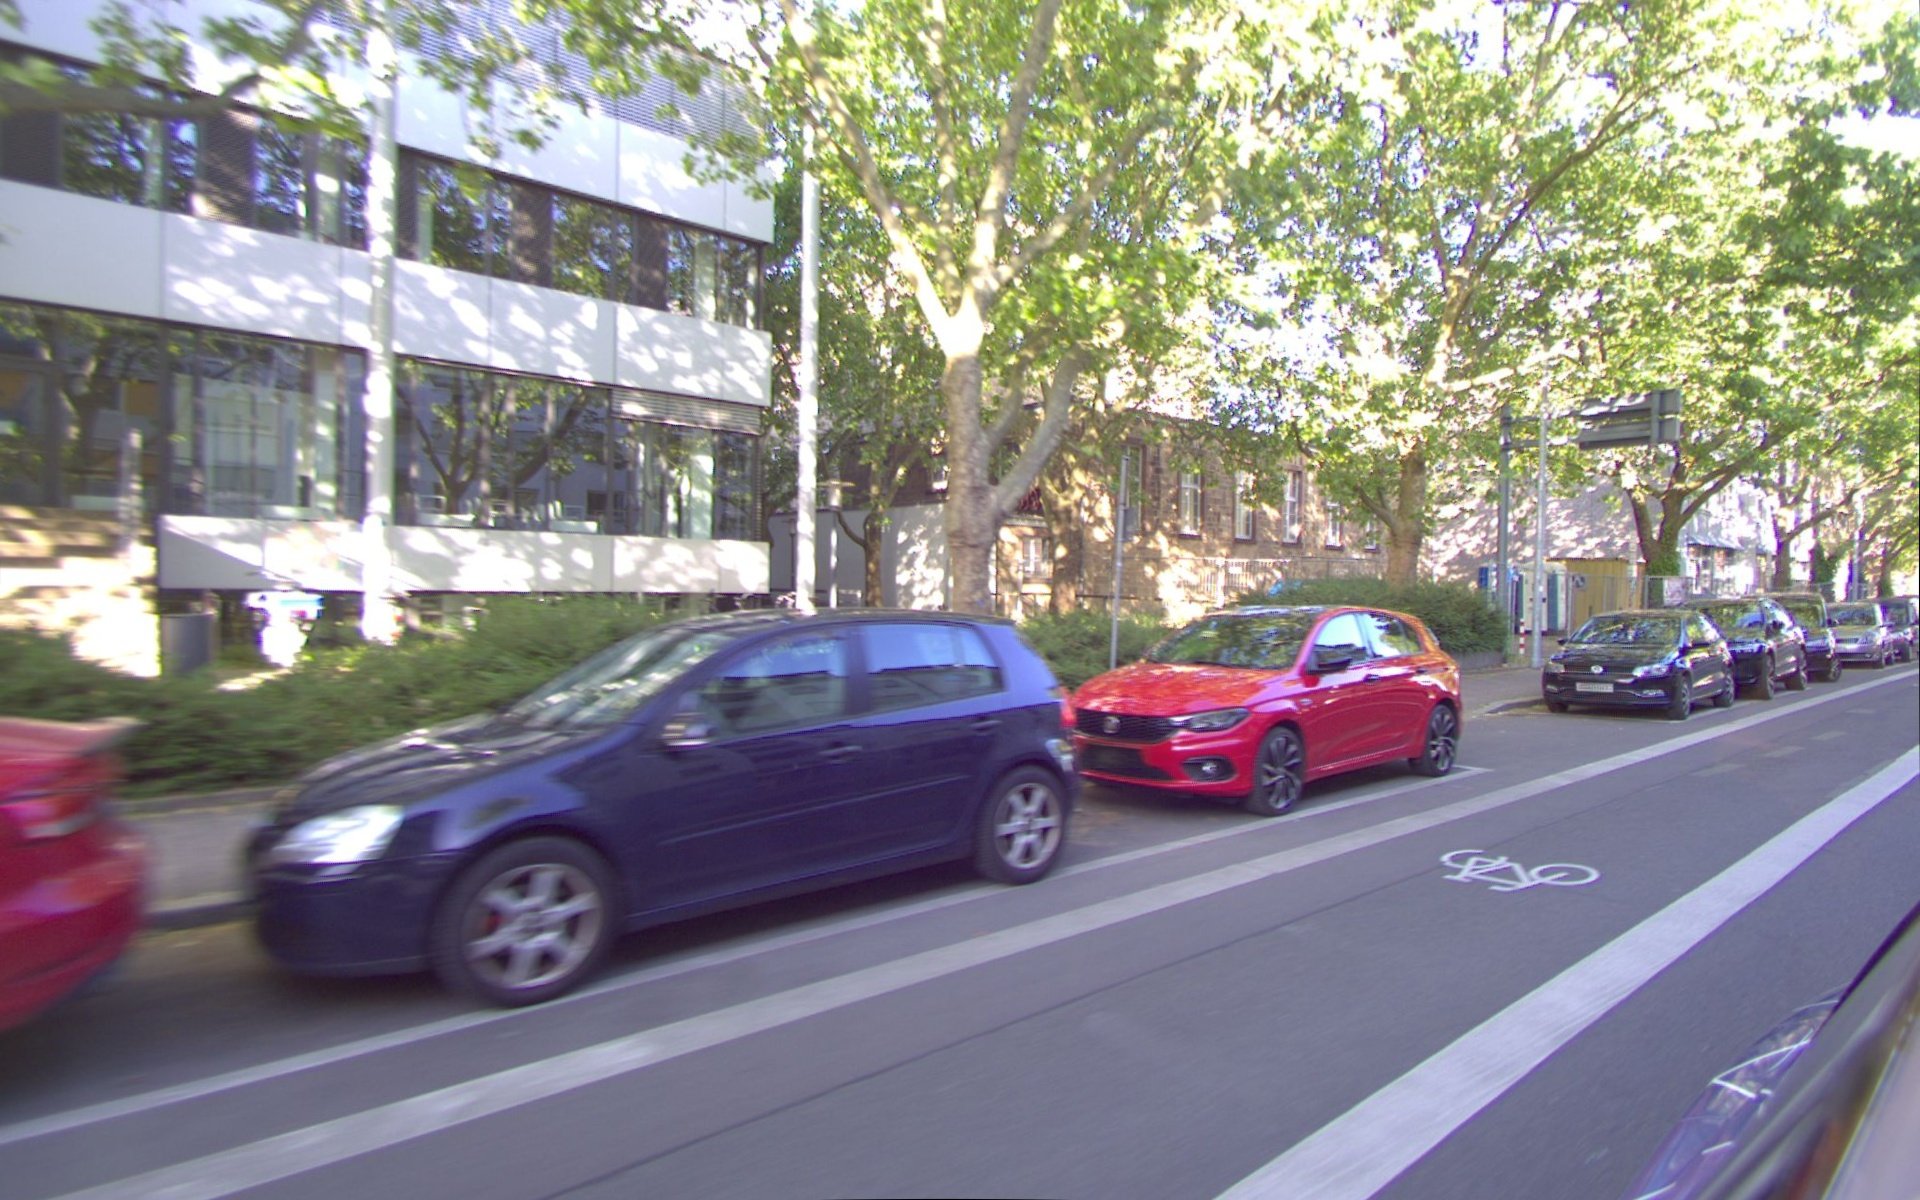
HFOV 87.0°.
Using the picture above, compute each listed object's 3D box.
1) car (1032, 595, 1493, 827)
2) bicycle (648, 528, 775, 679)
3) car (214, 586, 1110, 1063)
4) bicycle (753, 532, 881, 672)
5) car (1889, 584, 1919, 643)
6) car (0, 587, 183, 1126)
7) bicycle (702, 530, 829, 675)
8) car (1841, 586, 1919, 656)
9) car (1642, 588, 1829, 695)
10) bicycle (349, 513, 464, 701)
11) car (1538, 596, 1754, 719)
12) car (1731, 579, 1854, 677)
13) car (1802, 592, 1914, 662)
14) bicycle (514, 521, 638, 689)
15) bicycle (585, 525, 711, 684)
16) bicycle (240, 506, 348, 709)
[{"bbox_3d":[2.725,0.735,8.583,4.242,1.498,1.696,0,-1,-40],"label":"car"},{"bbox_3d":[-3.698,0.015,14.879,0.729,2.039,2.603,1,1,-40],"label":"bicycle"},{"bbox_3d":[-1.234,0.713,5.097,3.992,1.485,1.696,0,-1,-39],"label":"car"},{"bbox_3d":[-2.308,0.000,16.020,0.729,2.039,2.603,1,1,-40],"label":"bicycle"},{"bbox_3d":[34.824,0.446,36.062,5.083,2.019,2.080,0,-1,-42],"label":"car"},{"bbox_3d":[-4.502,0.710,2.186,4.360,1.468,1.694,0,-1,-43],"label":"car"},{"bbox_3d":[-3.022,0.008,15.449,0.729,2.039,2.603,1,1,-40],"label":"bicycle"},{"bbox_3d":[26.508,0.572,28.635,4.055,1.836,1.696,0,-1,-39],"label":"car"},{"bbox_3d":[13.702,0.649,17.773,4.541,1.648,1.778,0,-1,-42],"label":"car"},{"bbox_3d":[-6.725,0.047,12.213,0.729,2.039,2.603,1,1,-40],"label":"bicycle"},{"bbox_3d":[9.915,0.724,14.516,3.952,1.523,1.694,0,-1,-43],"label":"car"},{"bbox_3d":[17.852,0.558,21.632,1.823,1.865,4.826,-2,-1,41],"label":"car"},{"bbox_3d":[22.936,0.646,25.803,4.256,1.648,1.694,0,-1,-43],"label":"car"},{"bbox_3d":[-5.191,0.030,13.566,0.729,2.039,2.603,1,1,-40],"label":"bicycle"},{"bbox_3d":[-4.434,0.022,14.217,0.729,2.039,2.603,1,1,-40],"label":"bicycle"},{"bbox_3d":[-7.549,0.050,11.410,0.729,2.039,2.603,1,1,-40],"label":"bicycle"}]
